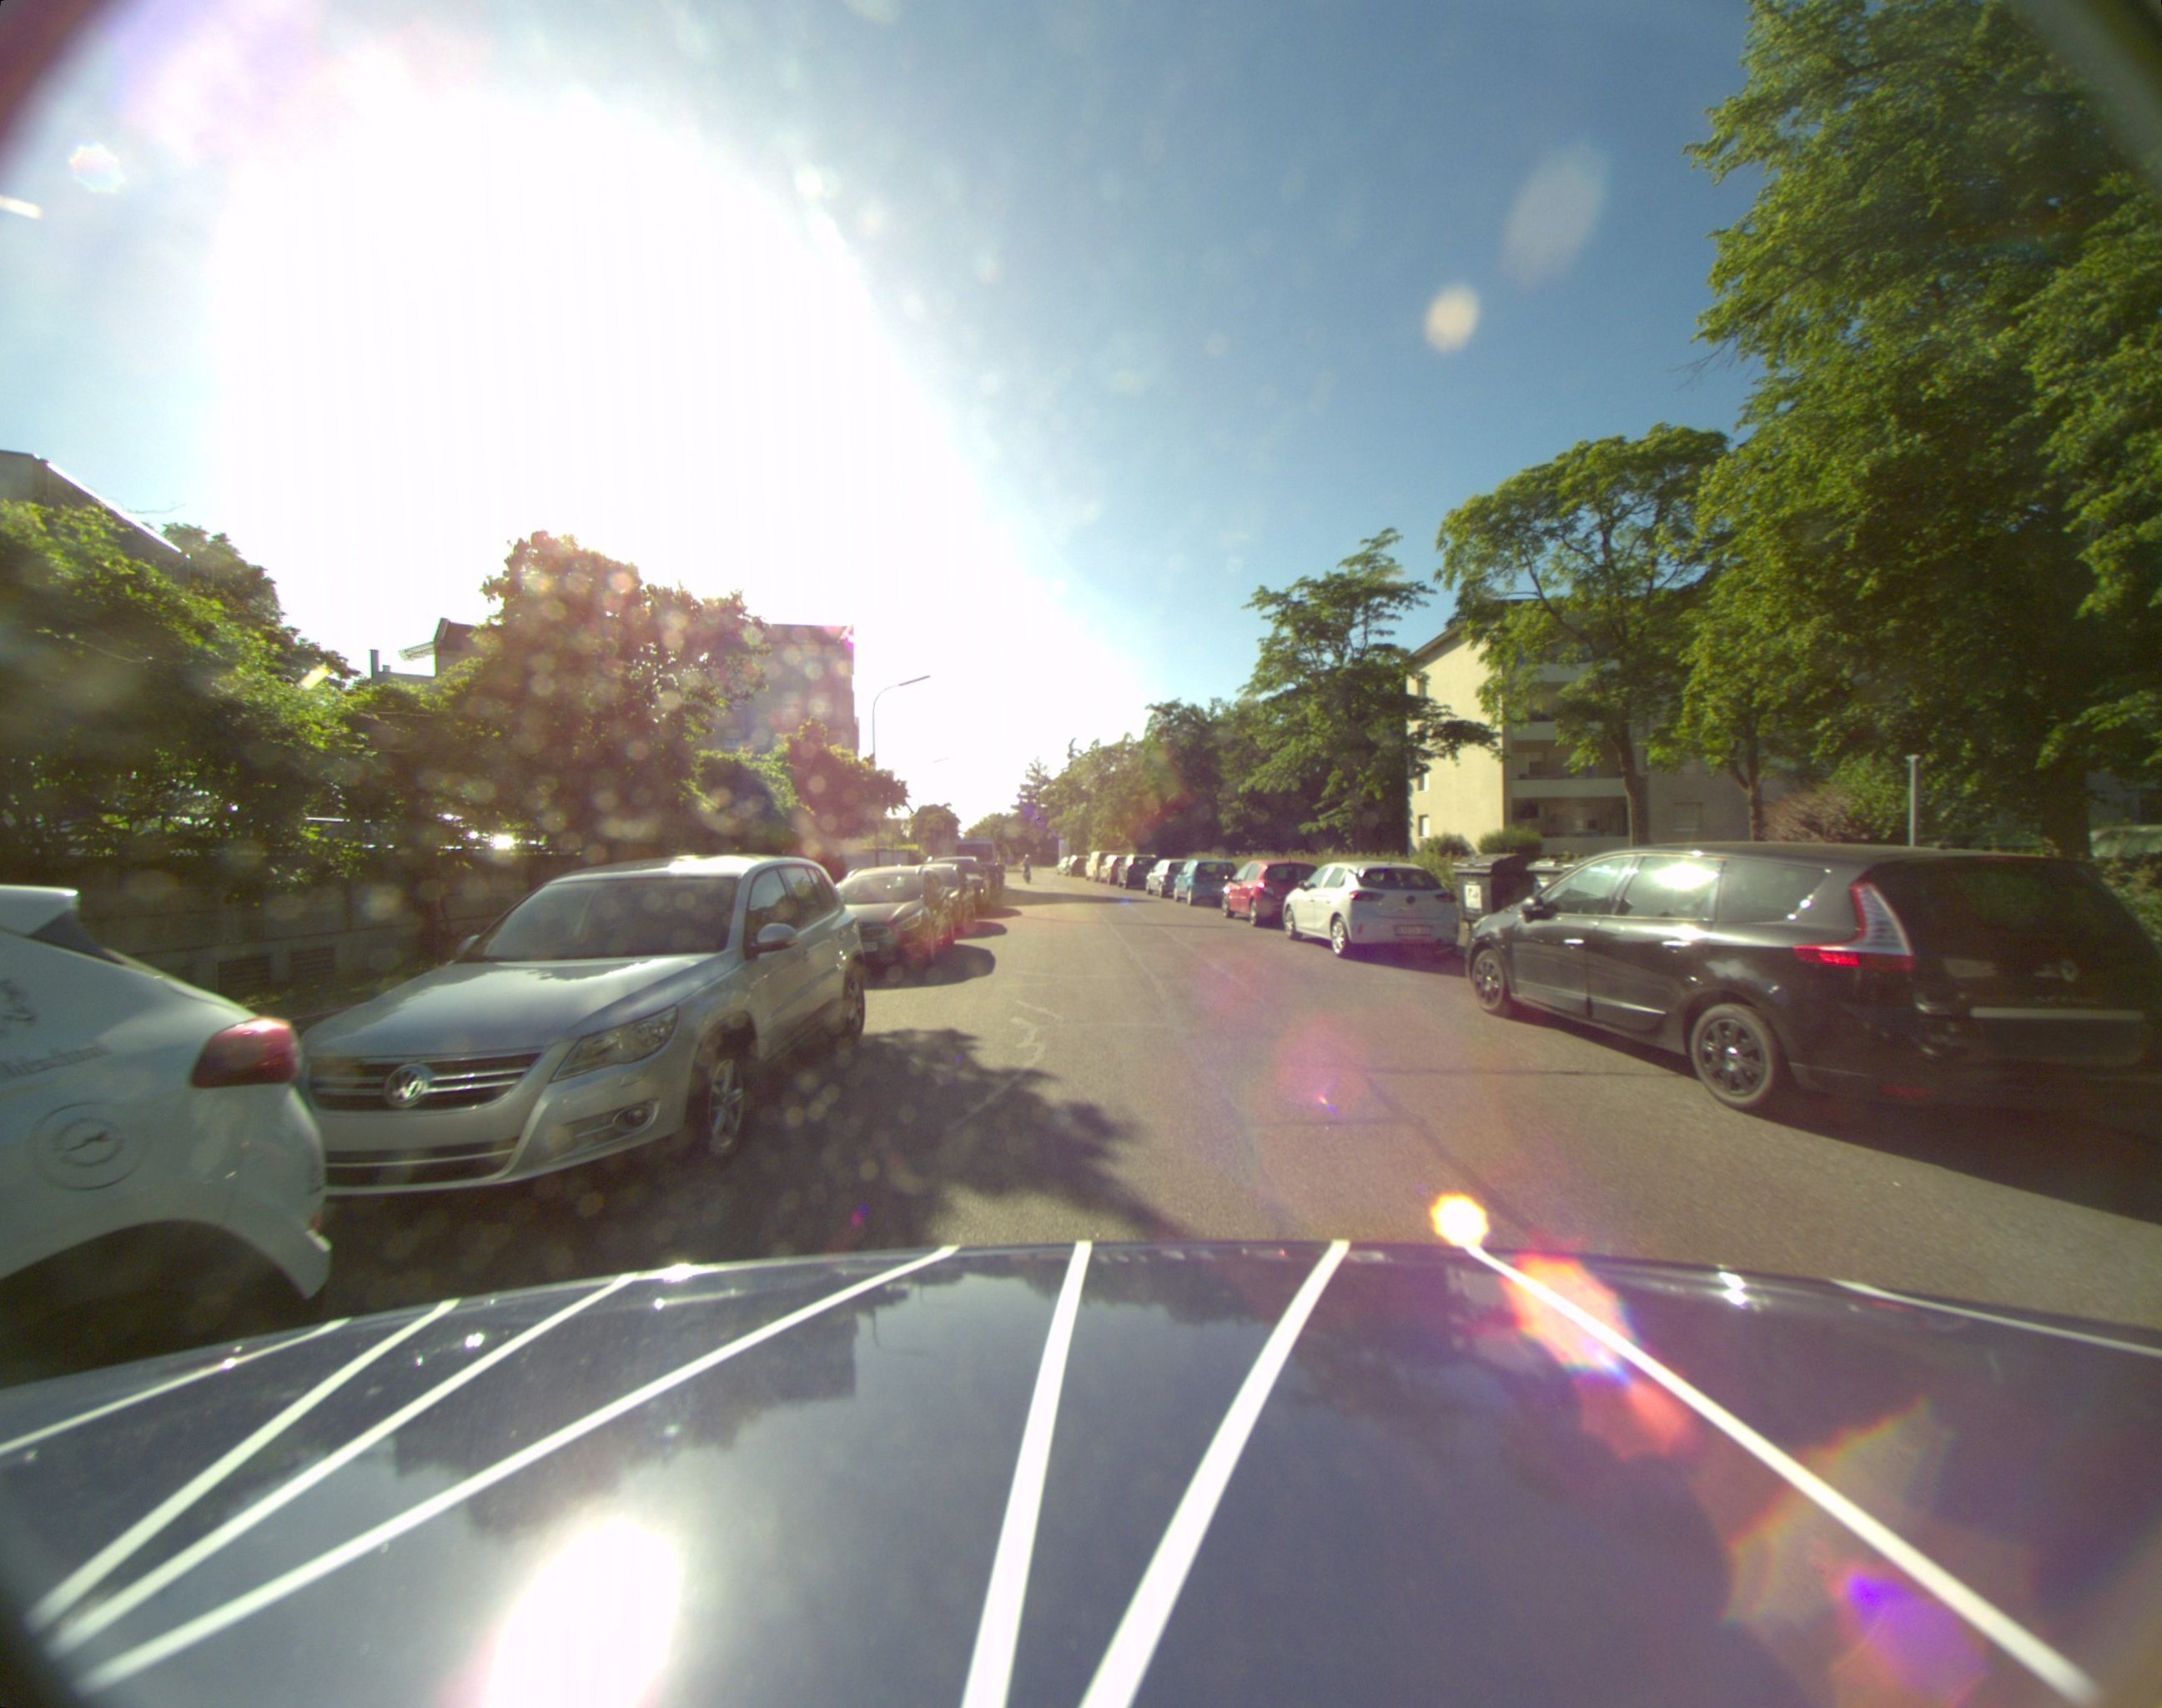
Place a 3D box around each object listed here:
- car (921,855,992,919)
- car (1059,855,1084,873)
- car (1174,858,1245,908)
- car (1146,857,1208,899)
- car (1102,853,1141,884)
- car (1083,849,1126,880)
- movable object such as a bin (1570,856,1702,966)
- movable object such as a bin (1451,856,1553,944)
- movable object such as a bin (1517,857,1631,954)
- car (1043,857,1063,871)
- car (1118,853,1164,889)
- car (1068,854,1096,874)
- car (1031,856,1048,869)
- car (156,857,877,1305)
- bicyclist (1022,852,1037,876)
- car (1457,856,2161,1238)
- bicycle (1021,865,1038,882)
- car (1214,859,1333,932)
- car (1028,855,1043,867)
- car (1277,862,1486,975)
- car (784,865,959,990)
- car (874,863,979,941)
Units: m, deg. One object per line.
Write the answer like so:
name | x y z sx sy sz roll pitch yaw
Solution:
car | -3.627 0.901 22.756 1.759 1.685 3.900 -1 1 -5
car | -0.879 0.838 65.999 1.659 1.427 3.687 0 1 -9
car | 4.113 0.895 24.799 1.658 1.470 3.105 0 1 -2
car | 3.679 0.893 29.840 1.658 1.470 3.733 0 0 -5
car | 2.245 0.785 43.233 1.658 1.621 3.688 0 1 -6
car | 1.412 0.640 48.835 1.885 1.857 5.435 0 0 -8
movable object such as a bin | 7.930 0.774 10.924 0.897 1.407 1.264 -4 1 -2
movable object such as a bin | 7.417 0.780 13.450 1.007 1.407 1.264 -4 1 -2
movable object such as a bin | 7.862 0.782 12.183 0.978 1.407 1.189 -4 1 -2
car | -2.949 1.056 80.151 1.659 1.427 3.687 0 1 -9
car | 2.862 0.799 37.101 1.658 1.621 4.070 0 0 -4
car | 0.067 0.771 59.922 1.659 1.558 3.687 0 1 -9
car | -5.020 0.976 90.800 1.659 1.427 3.687 0 1 -9
car | -2.737 0.898 4.980 1.759 1.676 3.982 -1 0 -1
bicyclist | -3.016 0.562 44.329 0.812 1.348 1.091 -1 1 -2
car | 4.708 0.837 5.463 1.811 1.596 4.432 0 0 0
bicycle | -2.998 1.135 44.334 0.824 0.896 2.202 -1 0 -1
car | 4.364 0.890 17.827 1.635 1.470 3.878 0 0 -3
car | -5.766 0.896 95.873 1.659 1.427 3.687 0 1 -9
car | 4.631 0.913 12.391 1.811 1.470 3.940 0 0 0
car | -3.137 1.011 12.291 1.759 1.470 4.367 -3 1 -3
car | -3.429 1.010 17.524 1.759 1.470 3.900 -1 0 -3
